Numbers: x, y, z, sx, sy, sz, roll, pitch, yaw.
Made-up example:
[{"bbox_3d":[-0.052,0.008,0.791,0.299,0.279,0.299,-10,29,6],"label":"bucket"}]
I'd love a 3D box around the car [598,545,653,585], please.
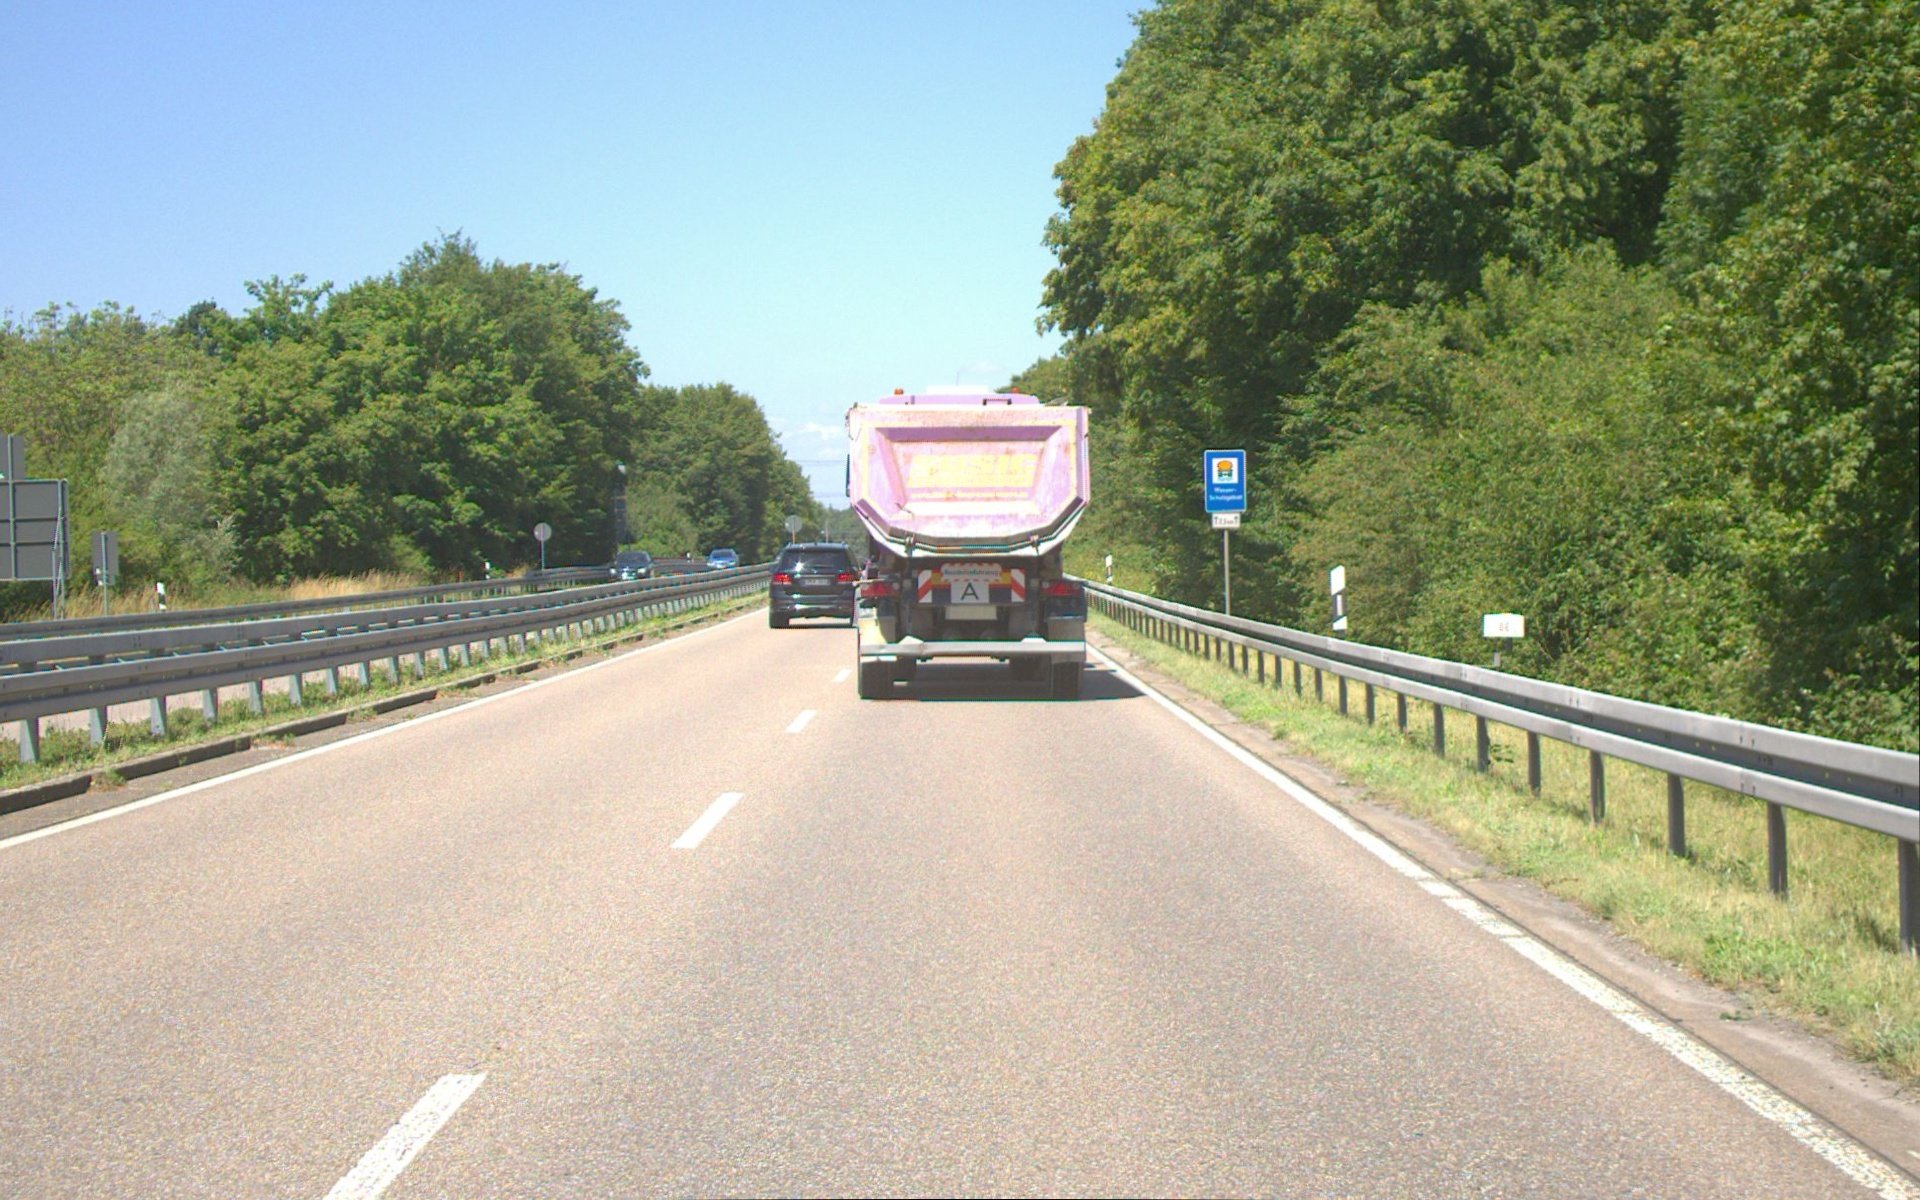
[{"bbox_3d":[-14.536,-1.536,149.476,1.779,1.614,4.505,-3,1,2],"label":"car"}]

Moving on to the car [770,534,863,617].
[{"bbox_3d":[-2.963,-0.493,71.723,1.857,1.666,4.000,0,-1,-1],"label":"car"}]

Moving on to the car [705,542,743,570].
[{"bbox_3d":[-13.913,-2.583,202.729,1.812,1.537,4.929,-2,1,0],"label":"car"}]

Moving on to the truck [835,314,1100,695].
[{"bbox_3d":[-0.016,-1.090,41.685,2.720,3.916,12.371,0,1,-1],"label":"truck"}]

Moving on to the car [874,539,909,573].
[{"bbox_3d":[-3.660,-2.352,184.025,1.857,1.712,4.000,0,-1,-1],"label":"car"}]
